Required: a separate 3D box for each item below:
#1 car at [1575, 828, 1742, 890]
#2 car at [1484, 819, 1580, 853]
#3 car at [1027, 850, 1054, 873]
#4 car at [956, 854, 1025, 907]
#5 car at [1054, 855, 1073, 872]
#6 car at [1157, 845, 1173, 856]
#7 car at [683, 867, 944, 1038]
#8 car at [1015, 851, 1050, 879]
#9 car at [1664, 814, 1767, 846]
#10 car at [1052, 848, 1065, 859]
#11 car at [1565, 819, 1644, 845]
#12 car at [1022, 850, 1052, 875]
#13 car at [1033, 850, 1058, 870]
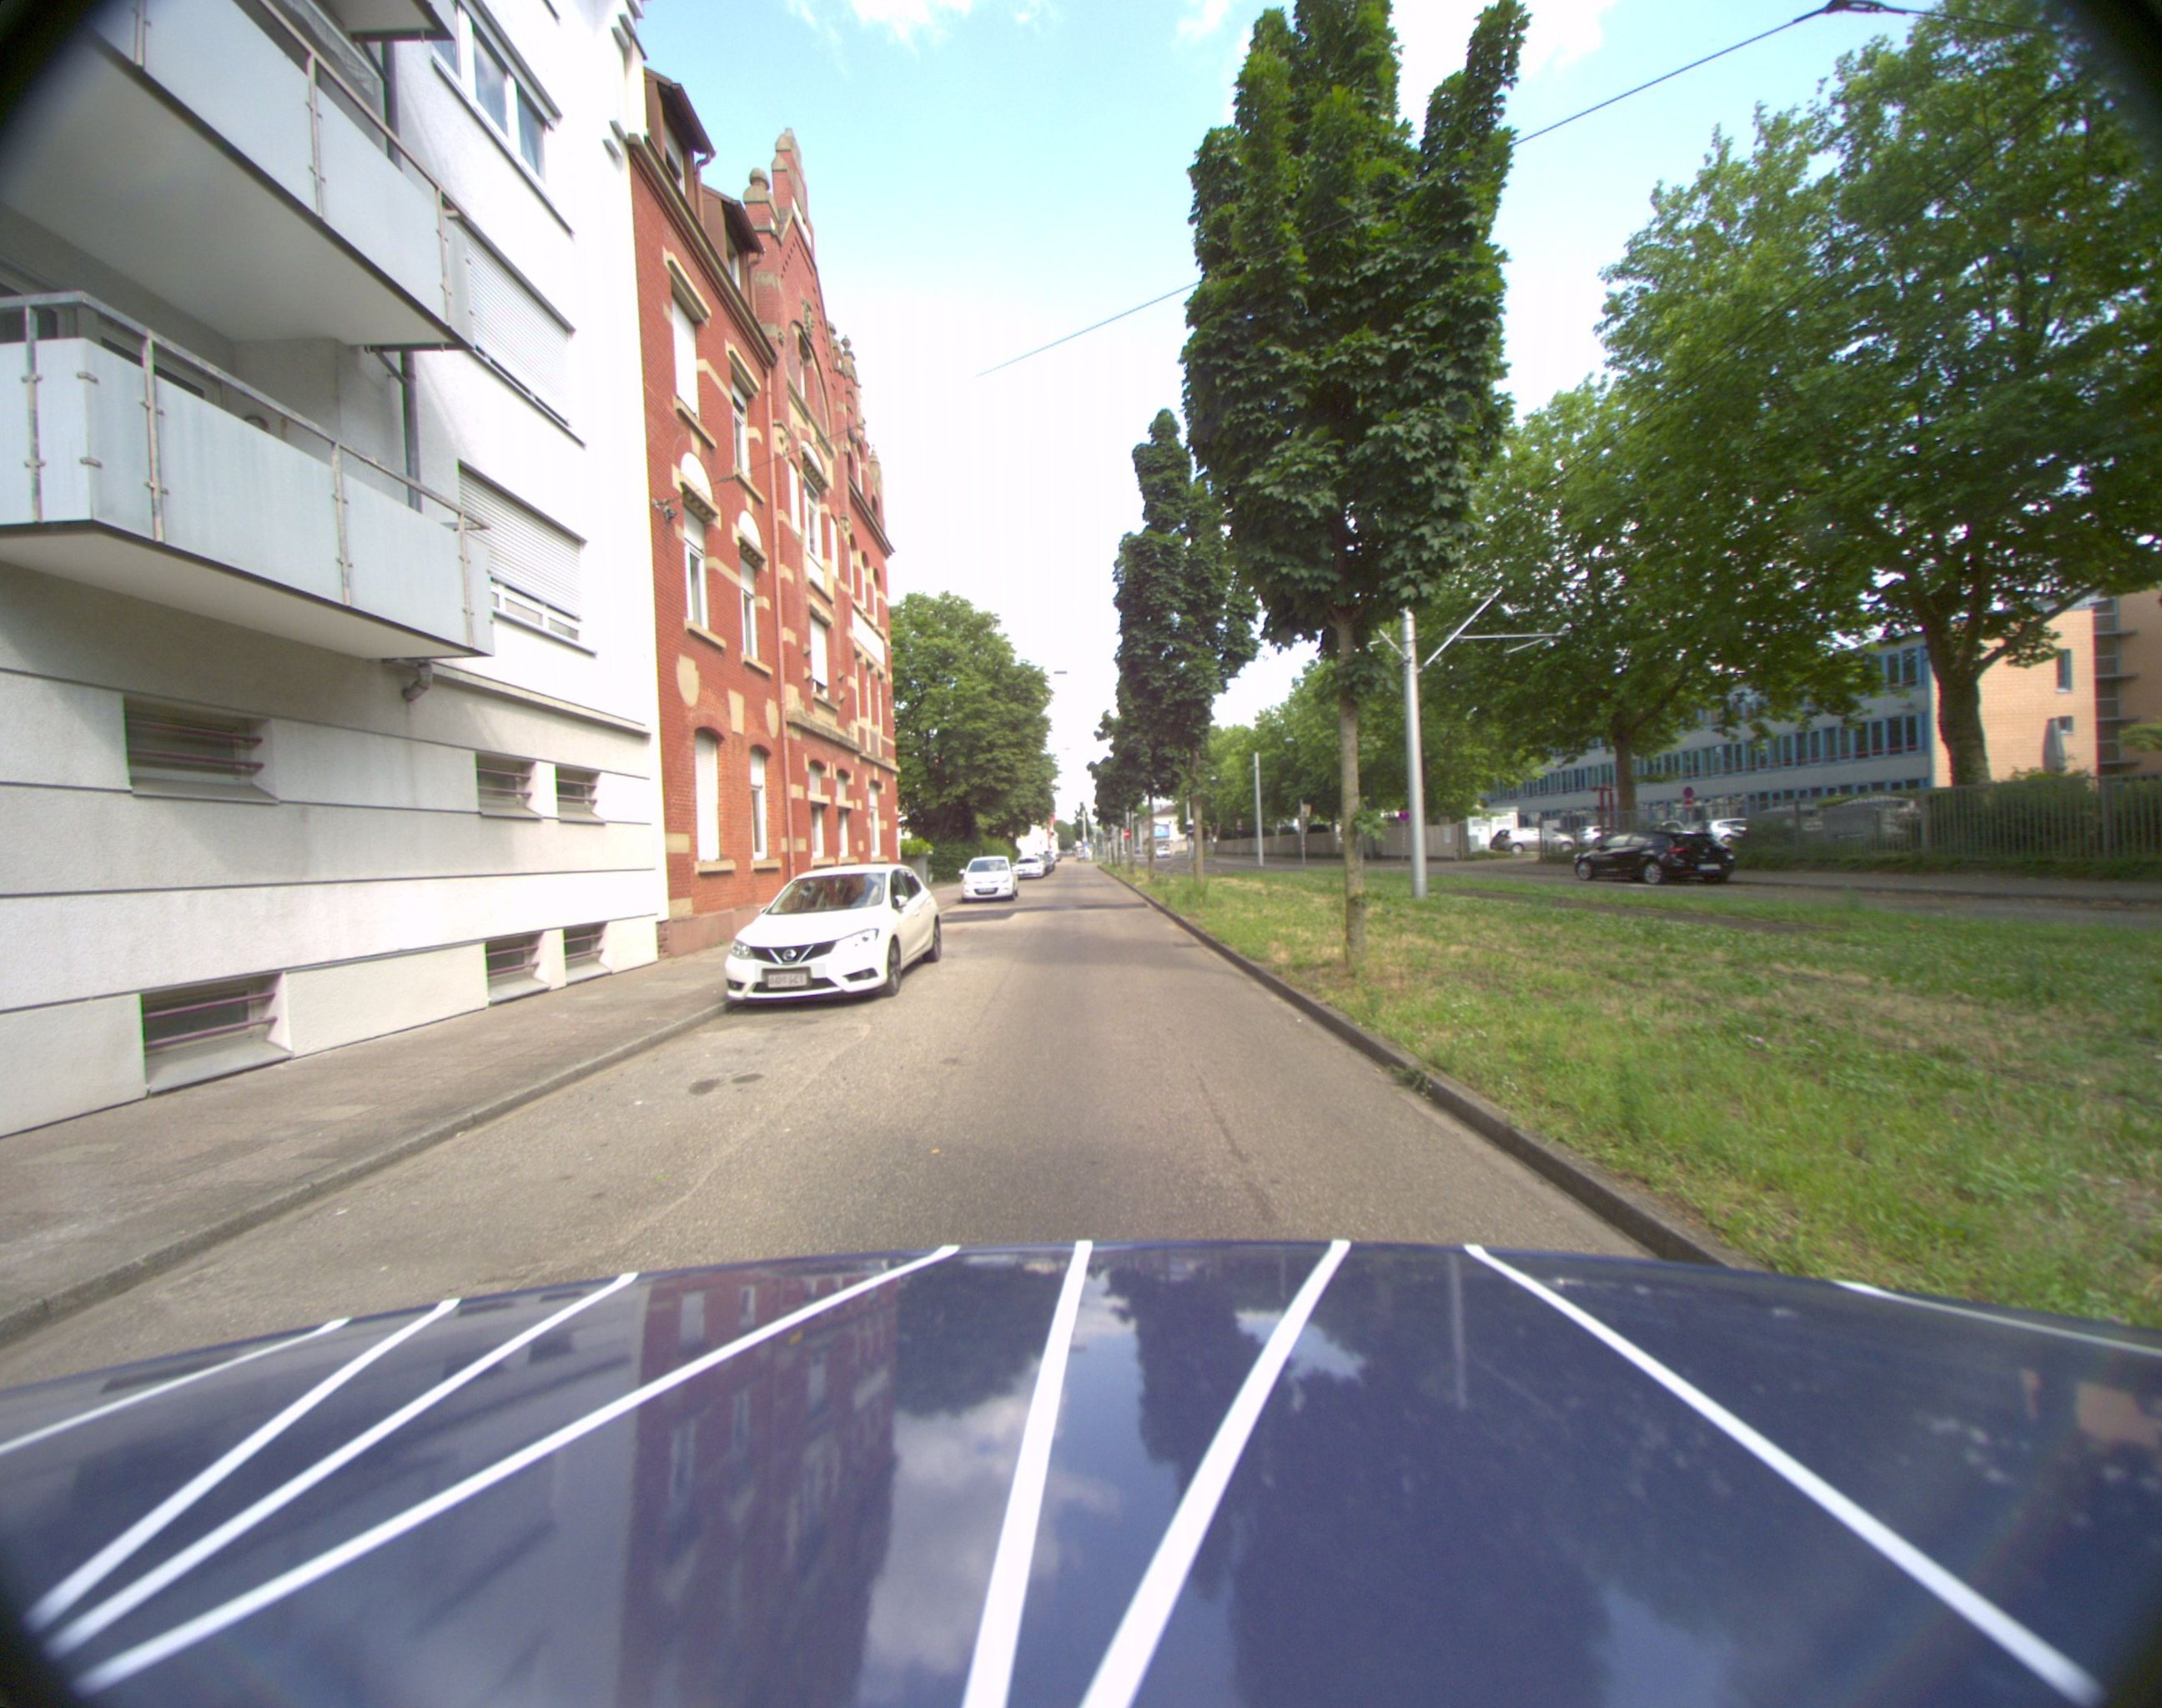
[{"bbox_3d":[15.600,0.108,20.822,1.601,1.455,4.000,-3,1,2],"label":"car"},{"bbox_3d":[24.227,-0.958,40.942,3.997,1.609,1.999,-2,1,-1],"label":"car"},{"bbox_3d":[-3.088,0.573,59.156,1.801,1.521,4.040,-5,1,0],"label":"car"},{"bbox_3d":[-3.015,0.825,25.975,1.801,1.521,4.040,-4,1,0],"label":"car"},{"bbox_3d":[-1.800,0.952,78.527,1.801,1.521,4.040,-5,1,0],"label":"car"},{"bbox_3d":[12.081,-0.539,109.961,1.801,1.521,4.040,-4,1,0],"label":"car"},{"bbox_3d":[-3.036,1.021,9.620,1.801,1.521,4.040,-3,1,0],"label":"car"},{"bbox_3d":[-2.995,0.665,47.489,1.801,1.521,4.040,-5,1,0],"label":"car"},{"bbox_3d":[34.645,-1.300,41.587,3.997,1.609,1.999,-2,1,-1],"label":"car"},{"bbox_3d":[-3.624,-0.138,122.777,1.801,1.521,4.040,-5,1,0],"label":"car"},{"bbox_3d":[35.479,-1.468,51.574,3.997,1.609,1.999,-2,1,-1],"label":"car"},{"bbox_3d":[-3.059,0.563,53.696,1.801,1.521,4.040,-5,1,0],"label":"car"},{"bbox_3d":[-3.011,0.494,64.569,1.801,1.521,4.040,-5,1,0],"label":"car"}]
